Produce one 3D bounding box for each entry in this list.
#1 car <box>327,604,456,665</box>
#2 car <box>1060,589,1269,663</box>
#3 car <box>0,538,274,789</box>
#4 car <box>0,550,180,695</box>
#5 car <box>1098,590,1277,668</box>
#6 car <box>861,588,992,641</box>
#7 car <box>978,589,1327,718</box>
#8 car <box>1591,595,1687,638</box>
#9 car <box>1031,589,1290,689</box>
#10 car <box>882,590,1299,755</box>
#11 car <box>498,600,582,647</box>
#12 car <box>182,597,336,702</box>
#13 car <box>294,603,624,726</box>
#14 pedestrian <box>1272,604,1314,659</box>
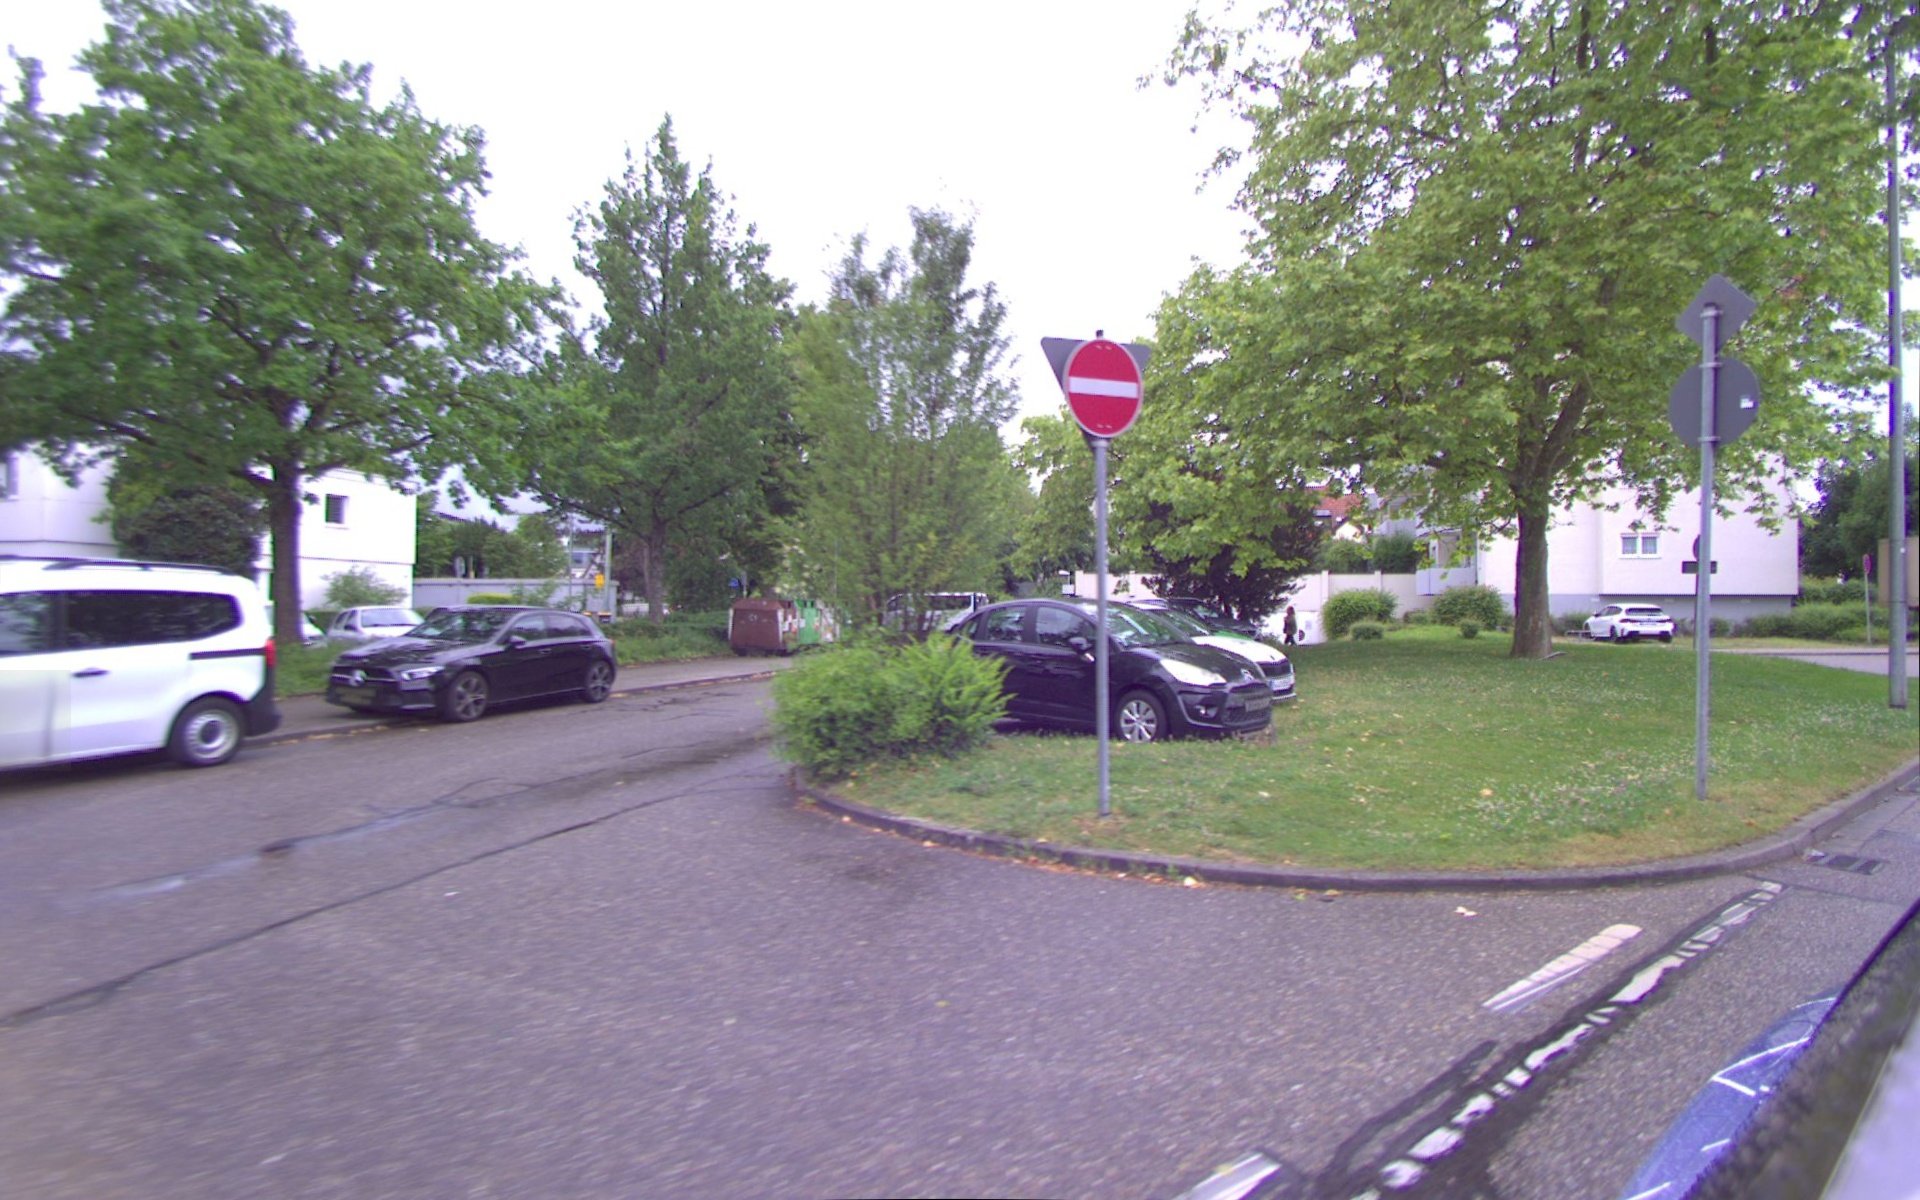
[{"bbox_3d":[-12.536,0.718,22.244,3.286,1.246,1.560,-1,-1,43],"label":"car"},{"bbox_3d":[4.191,0.483,21.160,1.735,1.388,4.013,1,0,-44],"label":"car"},{"bbox_3d":[-8.198,0.481,8.063,1.975,1.905,4.184,0,0,20],"label":"car"},{"bbox_3d":[-14.493,0.292,16.704,4.751,2.039,1.968,1,0,45],"label":"car"},{"bbox_3d":[5.253,0.603,23.931,1.728,1.647,4.300,1,0,-28],"label":"car"},{"bbox_3d":[-1.336,0.548,41.075,4.931,2.039,2.073,0,-1,19],"label":"car"},{"bbox_3d":[2.470,0.604,13.912,1.735,1.461,4.576,1,0,-44],"label":"car"},{"bbox_3d":[24.843,0.565,37.167,1.721,1.499,3.752,1,0,14],"label":"car"},{"bbox_3d":[3.269,0.562,17.033,1.735,1.461,4.013,1,0,-44],"label":"car"},{"bbox_3d":[1.252,0.640,11.355,1.735,1.461,4.576,1,0,-44],"label":"car"},{"bbox_3d":[-11.901,0.644,28.600,1.554,1.246,3.298,0,-1,-34],"label":"car"},{"bbox_3d":[-13.744,0.871,19.750,3.891,1.796,1.795,1,0,45],"label":"car"},{"bbox_3d":[-6.588,0.752,13.894,1.741,1.400,4.166,0,0,15],"label":"car"},{"bbox_3d":[9.926,0.935,30.169,0.931,1.603,0.739,0,-1,-6],"label":"pedestrian"}]
